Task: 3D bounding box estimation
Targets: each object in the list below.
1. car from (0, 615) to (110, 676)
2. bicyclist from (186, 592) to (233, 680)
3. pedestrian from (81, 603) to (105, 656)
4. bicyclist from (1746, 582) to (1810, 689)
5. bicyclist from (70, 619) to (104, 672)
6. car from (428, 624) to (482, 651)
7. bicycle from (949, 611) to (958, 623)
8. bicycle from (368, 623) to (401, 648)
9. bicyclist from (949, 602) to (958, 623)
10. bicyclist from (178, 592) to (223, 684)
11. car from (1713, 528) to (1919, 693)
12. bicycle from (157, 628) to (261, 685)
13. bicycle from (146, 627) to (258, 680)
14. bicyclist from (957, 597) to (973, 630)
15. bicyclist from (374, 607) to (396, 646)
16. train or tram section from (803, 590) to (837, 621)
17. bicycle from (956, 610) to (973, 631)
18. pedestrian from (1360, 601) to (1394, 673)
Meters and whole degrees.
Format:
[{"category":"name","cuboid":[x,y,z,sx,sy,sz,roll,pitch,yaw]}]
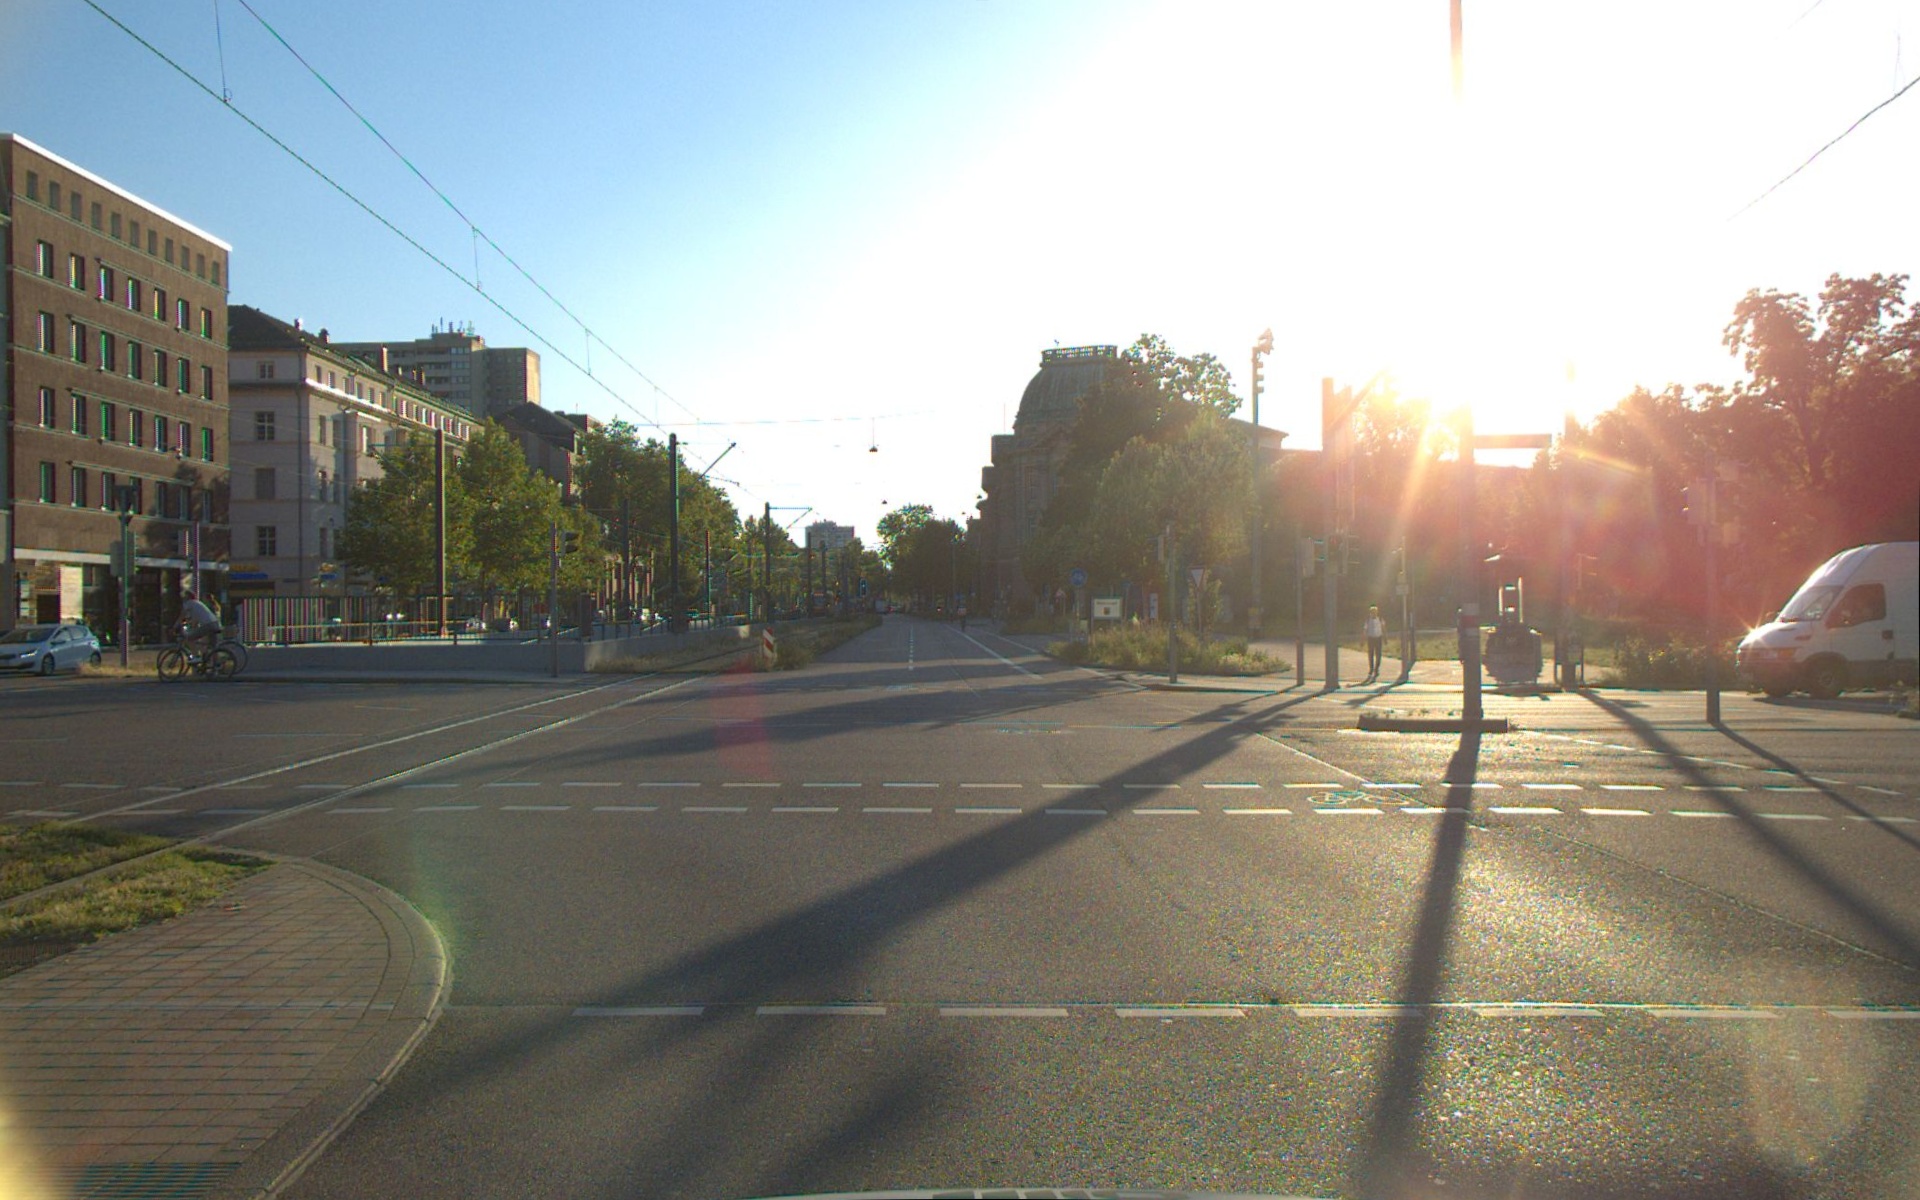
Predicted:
[{"category":"car","cuboid":[-26.134,1.272,47.156,1.654,1.646,4.000,-1,0,0]},{"category":"bicyclist","cuboid":[-16.158,0.770,35.626,0.862,1.850,0.535,0,-1,-18]},{"category":"pedestrian","cuboid":[-36.761,1.236,70.158,0.589,2.216,0.792,-1,-1,-1]},{"category":"bicyclist","cuboid":[16.016,0.688,32.395,0.880,2.049,0.722,-1,-1,4]},{"category":"bicyclist","cuboid":[-29.798,1.544,56.443,0.686,1.773,0.792,-1,-1,10]},{"category":"car","cuboid":[-29.541,2.191,96.814,1.781,1.445,4.001,-1,0,3]},{"category":"bicycle","cuboid":[-0.670,1.685,165.060,0.905,1.131,2.332,0,-1,-1]},{"category":"bicycle","cuboid":[-29.931,1.841,86.105,0.796,1.222,2.413,-1,0,1]},{"category":"bicyclist","cuboid":[-0.675,1.272,165.037,0.907,2.049,0.850,0,-1,-1]},{"category":"bicyclist","cuboid":[-15.447,0.763,33.647,0.781,1.850,0.642,0,-1,-21]},{"category":"car","cuboid":[17.692,0.166,30.248,6.866,2.877,2.093,-1,0,1]},{"category":"bicycle","cuboid":[-15.287,1.137,33.697,1.874,1.094,0.628,-1,-1,-21]},{"category":"bicycle","cuboid":[-16.293,1.140,35.587,2.130,1.102,0.536,0,0,-19]},{"category":"bicyclist","cuboid":[0.324,0.937,114.182,1.060,2.316,0.986,0,-1,-1]},{"category":"bicyclist","cuboid":[-29.935,1.379,86.117,0.780,2.049,0.923,-1,-1,1]},{"category":"train or tram section","cuboid":[-18.459,0.790,217.847,4.301,3.917,11.397,-1,0,-5]},{"category":"bicycle","cuboid":[0.316,1.381,114.239,1.075,1.423,2.831,0,-1,-1]},{"category":"pedestrian","cuboid":[10.809,0.952,42.878,0.815,1.835,0.811,-1,-1,14]}]
